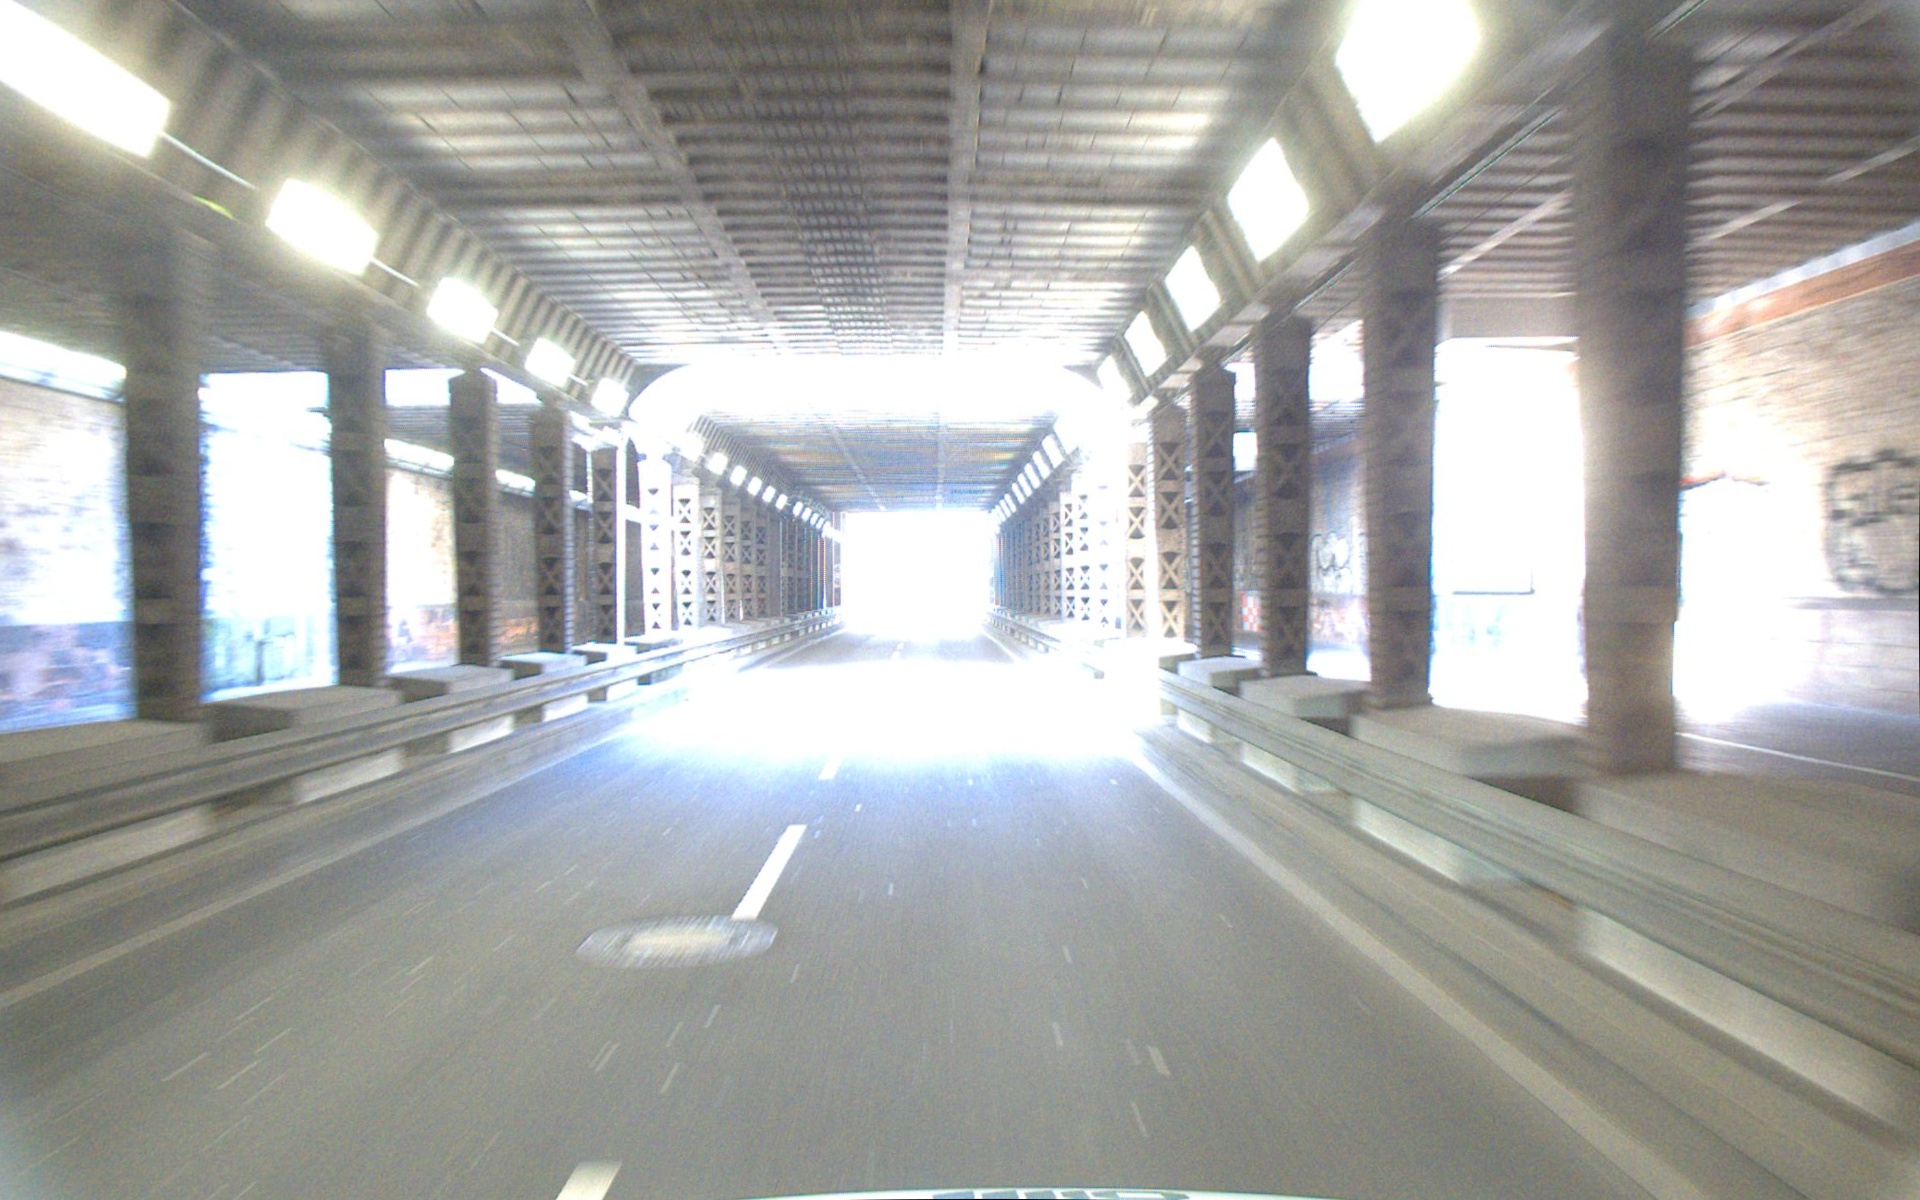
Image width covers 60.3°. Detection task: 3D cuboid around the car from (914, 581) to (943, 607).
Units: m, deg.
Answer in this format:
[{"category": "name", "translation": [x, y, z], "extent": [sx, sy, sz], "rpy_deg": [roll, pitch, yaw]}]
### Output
[{"category": "car", "translation": [-2.216, -0.428, 117.103], "extent": [1.953, 1.815, 3.999], "rpy_deg": [-1, 0, -1]}]

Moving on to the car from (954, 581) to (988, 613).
[{"category": "car", "translation": [0.655, -0.207, 100.023], "extent": [1.953, 1.815, 3.999], "rpy_deg": [-1, 0, -1]}]

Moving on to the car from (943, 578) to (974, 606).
[{"category": "car", "translation": [-0.121, -0.533, 110.104], "extent": [1.953, 1.815, 3.999], "rpy_deg": [-1, 0, -1]}]
